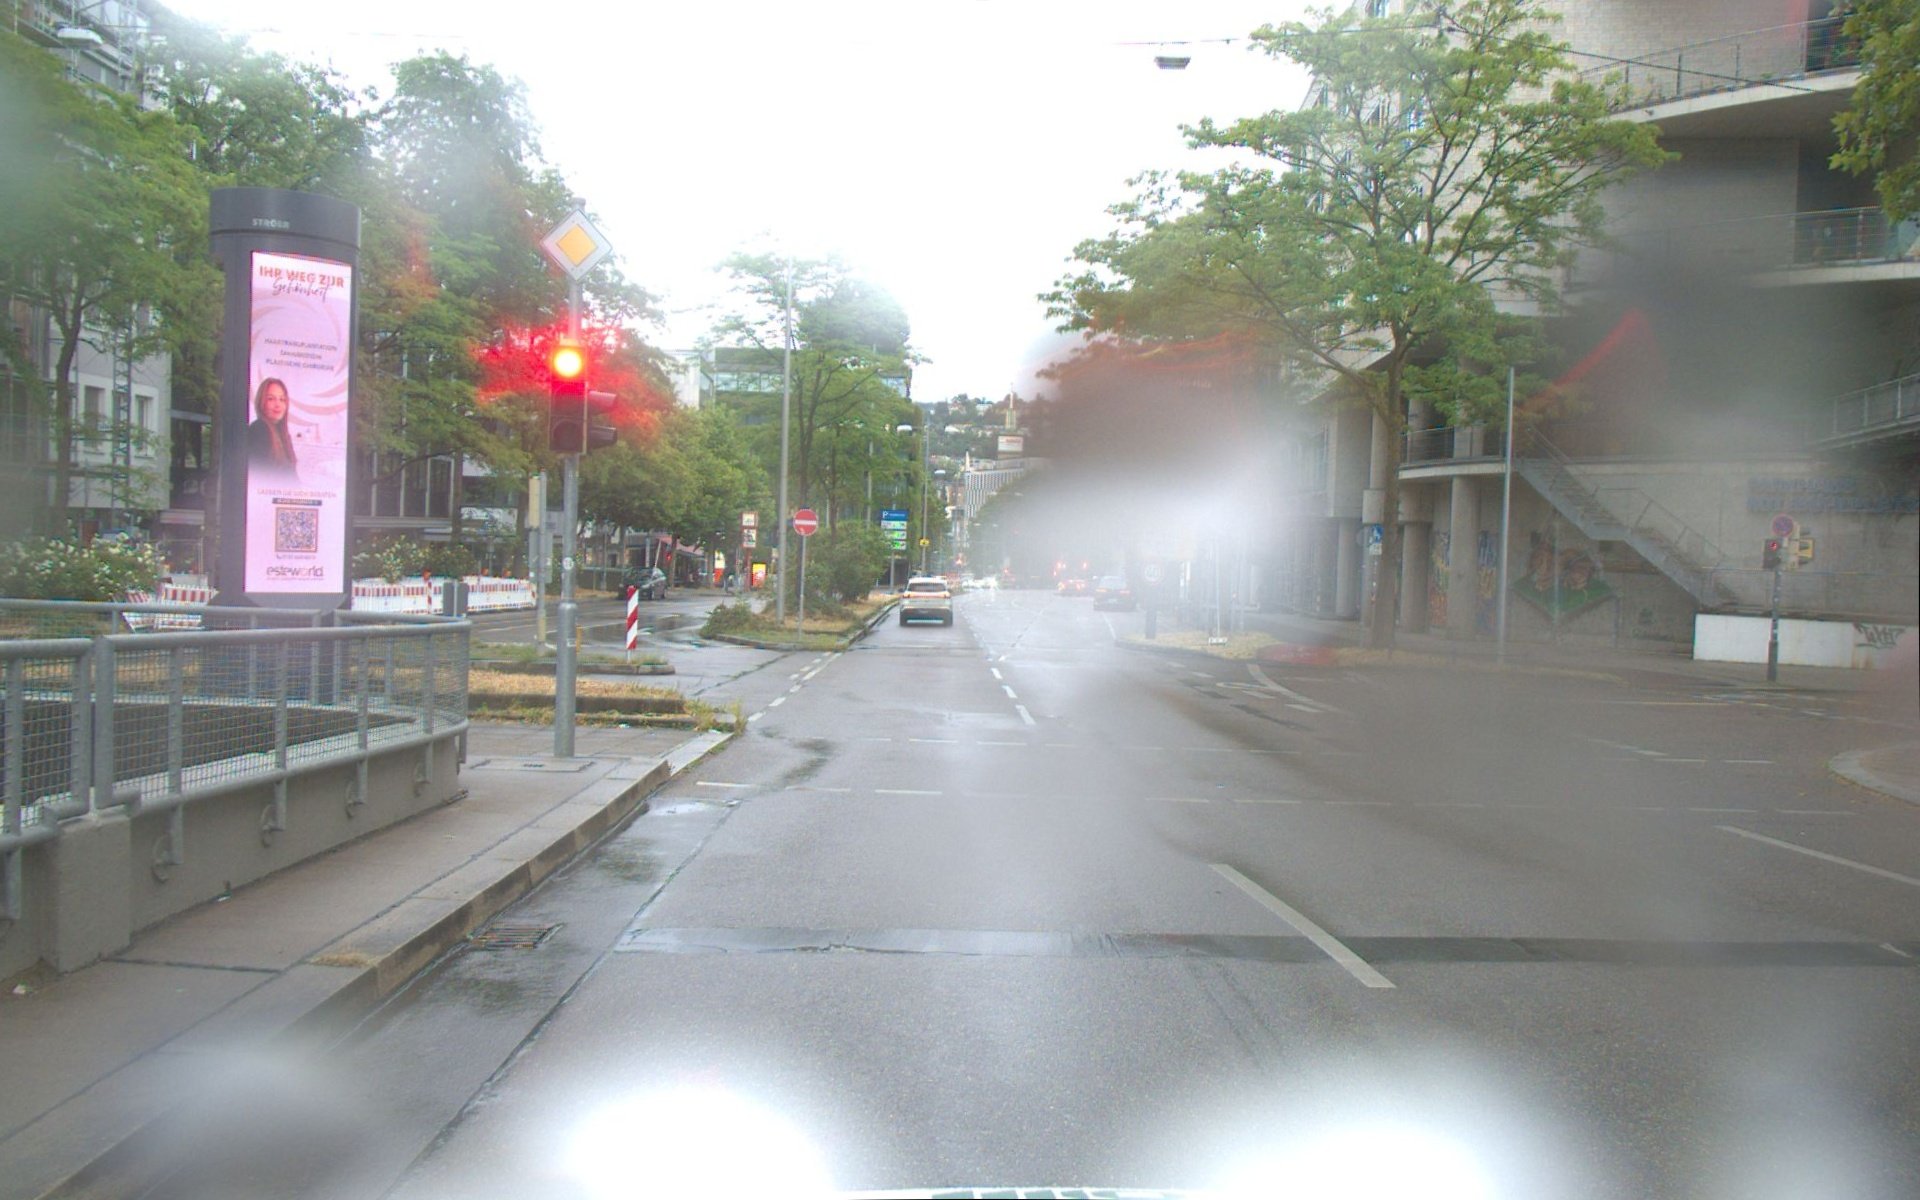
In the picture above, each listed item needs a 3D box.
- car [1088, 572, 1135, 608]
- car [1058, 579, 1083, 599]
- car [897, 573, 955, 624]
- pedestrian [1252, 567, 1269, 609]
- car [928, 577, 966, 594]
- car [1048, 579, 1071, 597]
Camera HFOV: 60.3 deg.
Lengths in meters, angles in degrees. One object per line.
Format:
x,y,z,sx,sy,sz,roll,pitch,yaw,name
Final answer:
7.670,-0.503,83.541,2.288,1.720,4.003,1,1,6,car
10.330,-1.008,155.436,1.953,1.754,3.999,1,0,-2,car
-1.216,-0.062,57.868,1.792,1.668,4.297,2,0,-4,car
14.328,-0.577,78.939,0.759,1.954,0.703,1,-1,9,pedestrian
-1.507,-1.690,189.561,3.954,1.789,1.975,2,0,-36,car
10.032,-1.202,166.965,1.953,1.766,3.999,1,0,-1,car
